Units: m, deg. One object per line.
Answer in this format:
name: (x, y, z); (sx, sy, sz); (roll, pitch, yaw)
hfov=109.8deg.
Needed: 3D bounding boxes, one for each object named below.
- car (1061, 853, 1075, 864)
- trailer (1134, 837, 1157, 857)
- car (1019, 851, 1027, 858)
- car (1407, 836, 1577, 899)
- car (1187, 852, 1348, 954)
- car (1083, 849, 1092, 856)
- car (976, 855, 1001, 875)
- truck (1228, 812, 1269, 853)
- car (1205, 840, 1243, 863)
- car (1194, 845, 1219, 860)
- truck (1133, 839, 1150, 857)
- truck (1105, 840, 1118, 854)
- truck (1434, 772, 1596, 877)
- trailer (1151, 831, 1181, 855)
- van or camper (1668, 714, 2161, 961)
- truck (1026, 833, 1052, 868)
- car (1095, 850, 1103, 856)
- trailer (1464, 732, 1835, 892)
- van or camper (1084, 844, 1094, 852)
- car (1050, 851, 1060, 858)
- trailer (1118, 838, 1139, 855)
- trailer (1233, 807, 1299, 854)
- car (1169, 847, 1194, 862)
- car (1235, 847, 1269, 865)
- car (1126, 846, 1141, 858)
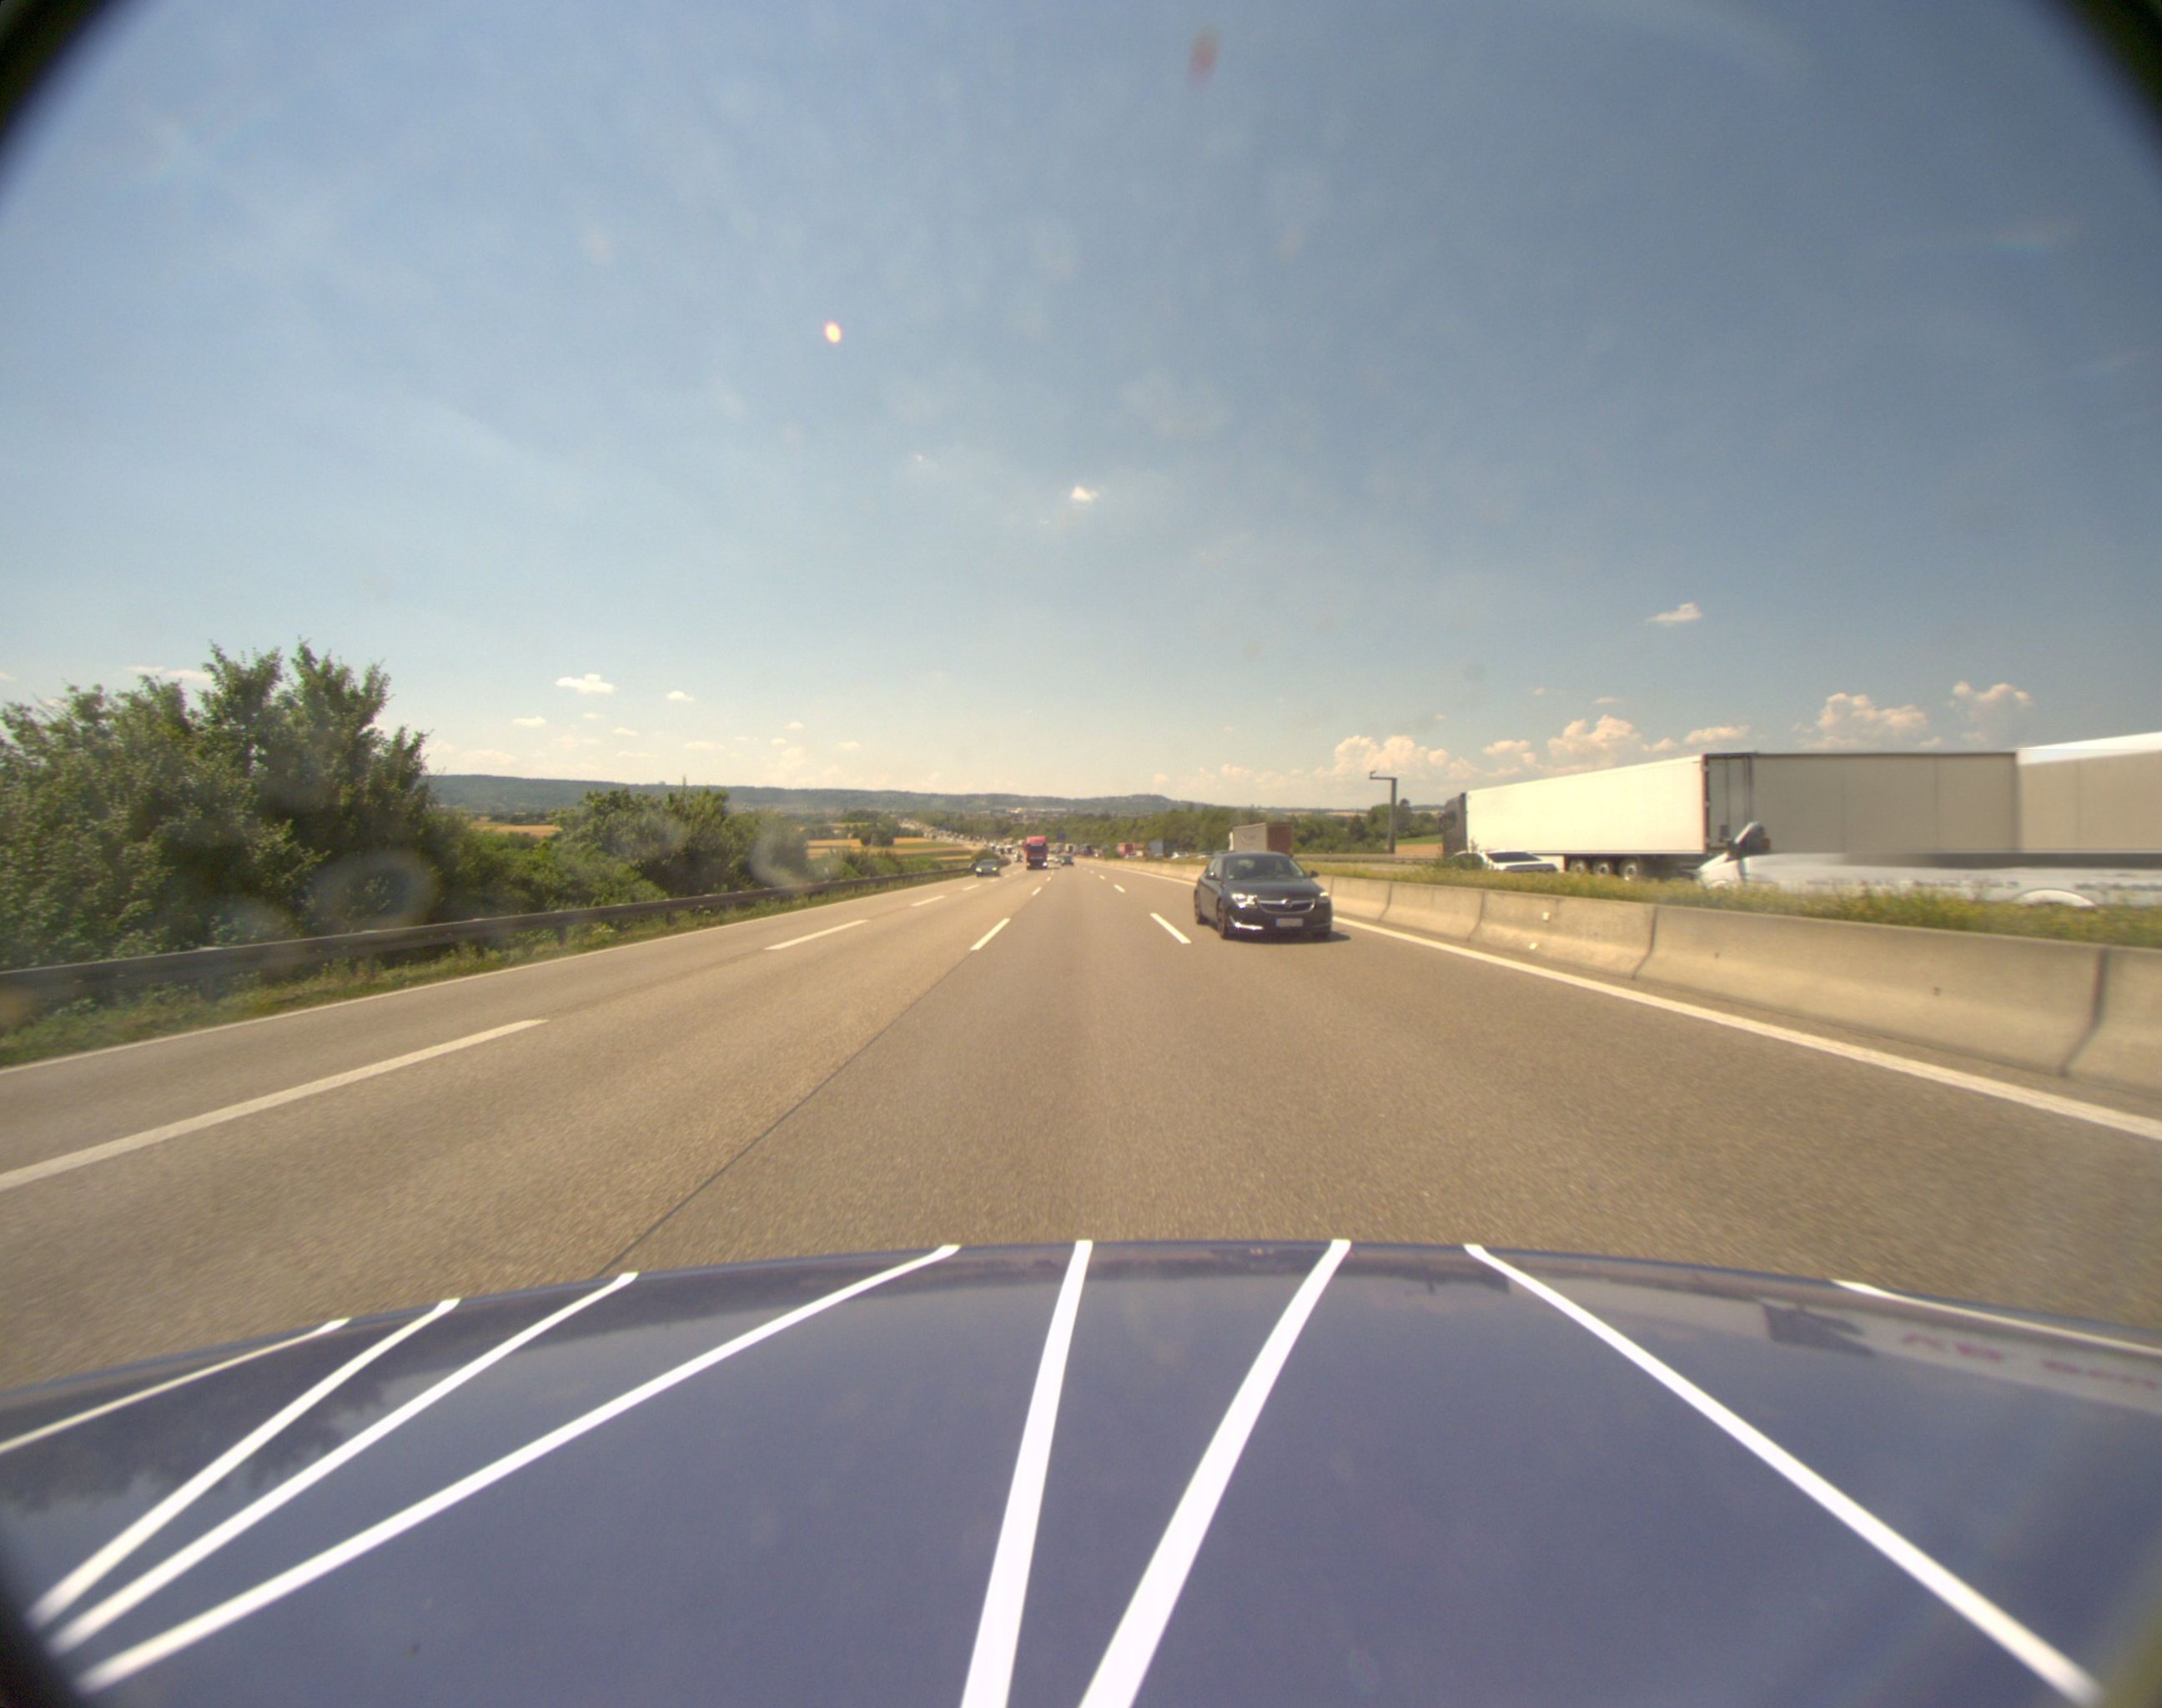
car: (-1.960, 0.621, 115.413); (1.866, 1.426, 3.996); (-1, 3, -5)
trailer: (13.868, -1.500, 164.582); (2.961, 4.077, 14.376); (-2, 0, -3)
car: (-14.285, 0.113, 187.557); (1.999, 1.467, 3.996); (-2, 3, -3)
car: (11.975, 0.339, 22.723); (1.931, 1.578, 5.668); (-2, 0, -1)
car: (3.215, 0.753, 14.132); (1.807, 1.534, 4.749); (-2, 0, 0)
car: (1.898, -0.398, 215.909); (1.919, 1.958, 5.444); (-2, 1, -4)
car: (-7.904, 0.893, 64.750); (2.038, 1.543, 3.997); (-2, 0, -7)
truck: (18.615, -2.321, 84.824); (3.140, 4.303, 6.145); (-2, 1, -1)
car: (11.402, -0.202, 60.857); (1.999, 1.657, 4.963); (-2, 0, -1)
car: (14.164, -0.204, 86.238); (1.999, 1.578, 4.587); (-1, 1, -1)
truck: (13.620, -1.365, 171.786); (2.758, 3.815, 7.095); (-2, 0, -3)
truck: (9.032, -2.053, 226.909); (2.910, 3.854, 6.173); (-2, 1, -6)
truck: (19.435, -1.221, 34.685); (3.234, 4.182, 7.125); (-2, 0, 0)
trailer: (15.646, -2.055, 140.699); (3.170, 4.170, 14.374); (-3, 1, -2)
van or camper: (11.807, -0.198, 10.178); (2.072, 2.449, 7.519); (0, 1, 0)
truck: (-5.213, -0.512, 93.624); (2.924, 3.986, 6.507); (-2, 2, -3)
car: (5.115, -0.352, 217.835); (1.919, 1.532, 5.740); (-2, 1, -4)
trailer: (19.450, -1.207, 28.287); (3.250, 4.362, 14.026); (-2, 0, 0)
van or camper: (2.625, -1.938, 249.633); (2.318, 2.572, 7.138); (-2, 1, -5)
car: (-6.212, 0.168, 181.083); (2.000, 1.467, 3.995); (-2, 3, -7)
trailer: (11.831, -1.931, 190.763); (3.094, 4.077, 14.373); (-2, 1, -4)
trailer: (18.691, -2.279, 78.115); (3.131, 4.299, 14.541); (-2, 1, 0)
car: (10.845, 0.021, 82.248); (1.884, 1.562, 4.588); (-2, 0, -1)
car: (14.917, 0.182, 66.412); (1.871, 1.448, 4.571); (-2, 1, -1)
car: (9.008, -0.288, 129.998); (1.999, 1.893, 5.674); (-2, 1, -1)
